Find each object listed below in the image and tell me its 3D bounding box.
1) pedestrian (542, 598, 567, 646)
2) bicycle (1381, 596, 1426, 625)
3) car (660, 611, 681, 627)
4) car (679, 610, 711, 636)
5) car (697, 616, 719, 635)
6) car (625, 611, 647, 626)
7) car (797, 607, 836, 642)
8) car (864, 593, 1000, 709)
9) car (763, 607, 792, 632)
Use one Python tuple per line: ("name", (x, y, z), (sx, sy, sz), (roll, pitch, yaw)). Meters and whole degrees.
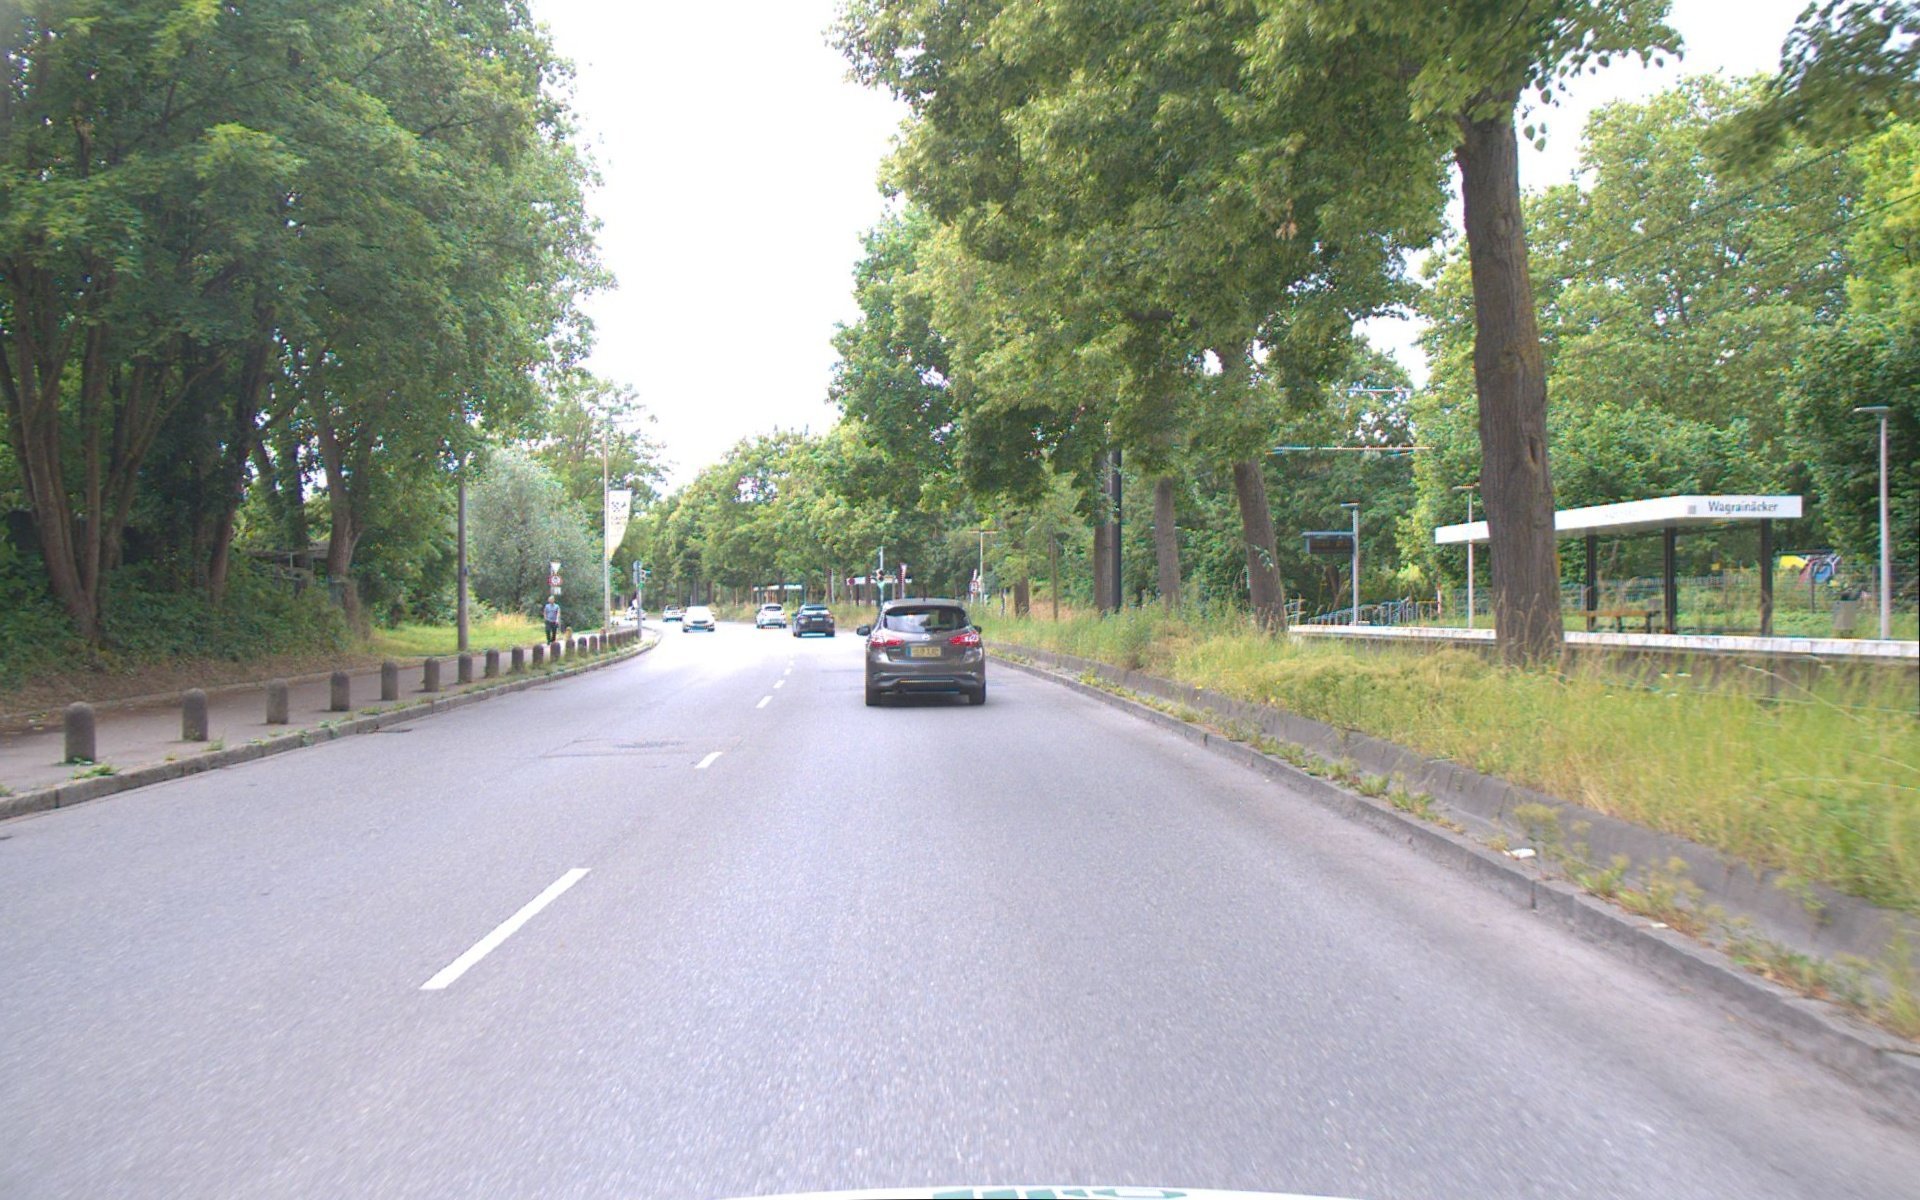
("pedestrian", (-14.177, 0.776, 57.820), (0.676, 1.663, 0.837), (1, -1, -6))
("bicycle", (15.711, 0.369, 58.657), (1.480, 0.990, 0.449), (1, -1, -9))
("car", (-27.499, 1.774, 156.881), (1.745, 1.498, 3.986), (0, 0, -13))
("car", (-15.856, 1.351, 99.120), (1.739, 1.464, 4.354), (-2, 0, -7))
("car", (-21.403, 2.149, 140.606), (1.742, 1.498, 3.993), (2, -1, -8))
("car", (-34.823, 1.957, 177.842), (1.749, 1.498, 3.978), (1, 0, -19))
("car", (-6.582, 1.102, 75.979), (1.741, 1.498, 3.996), (1, 0, -5))
("car", (-0.504, 0.698, 25.103), (1.780, 1.534, 3.996), (-1, 1, -5))
("car", (-11.515, 1.223, 104.174), (1.742, 1.498, 3.994), (1, 0, -7))
